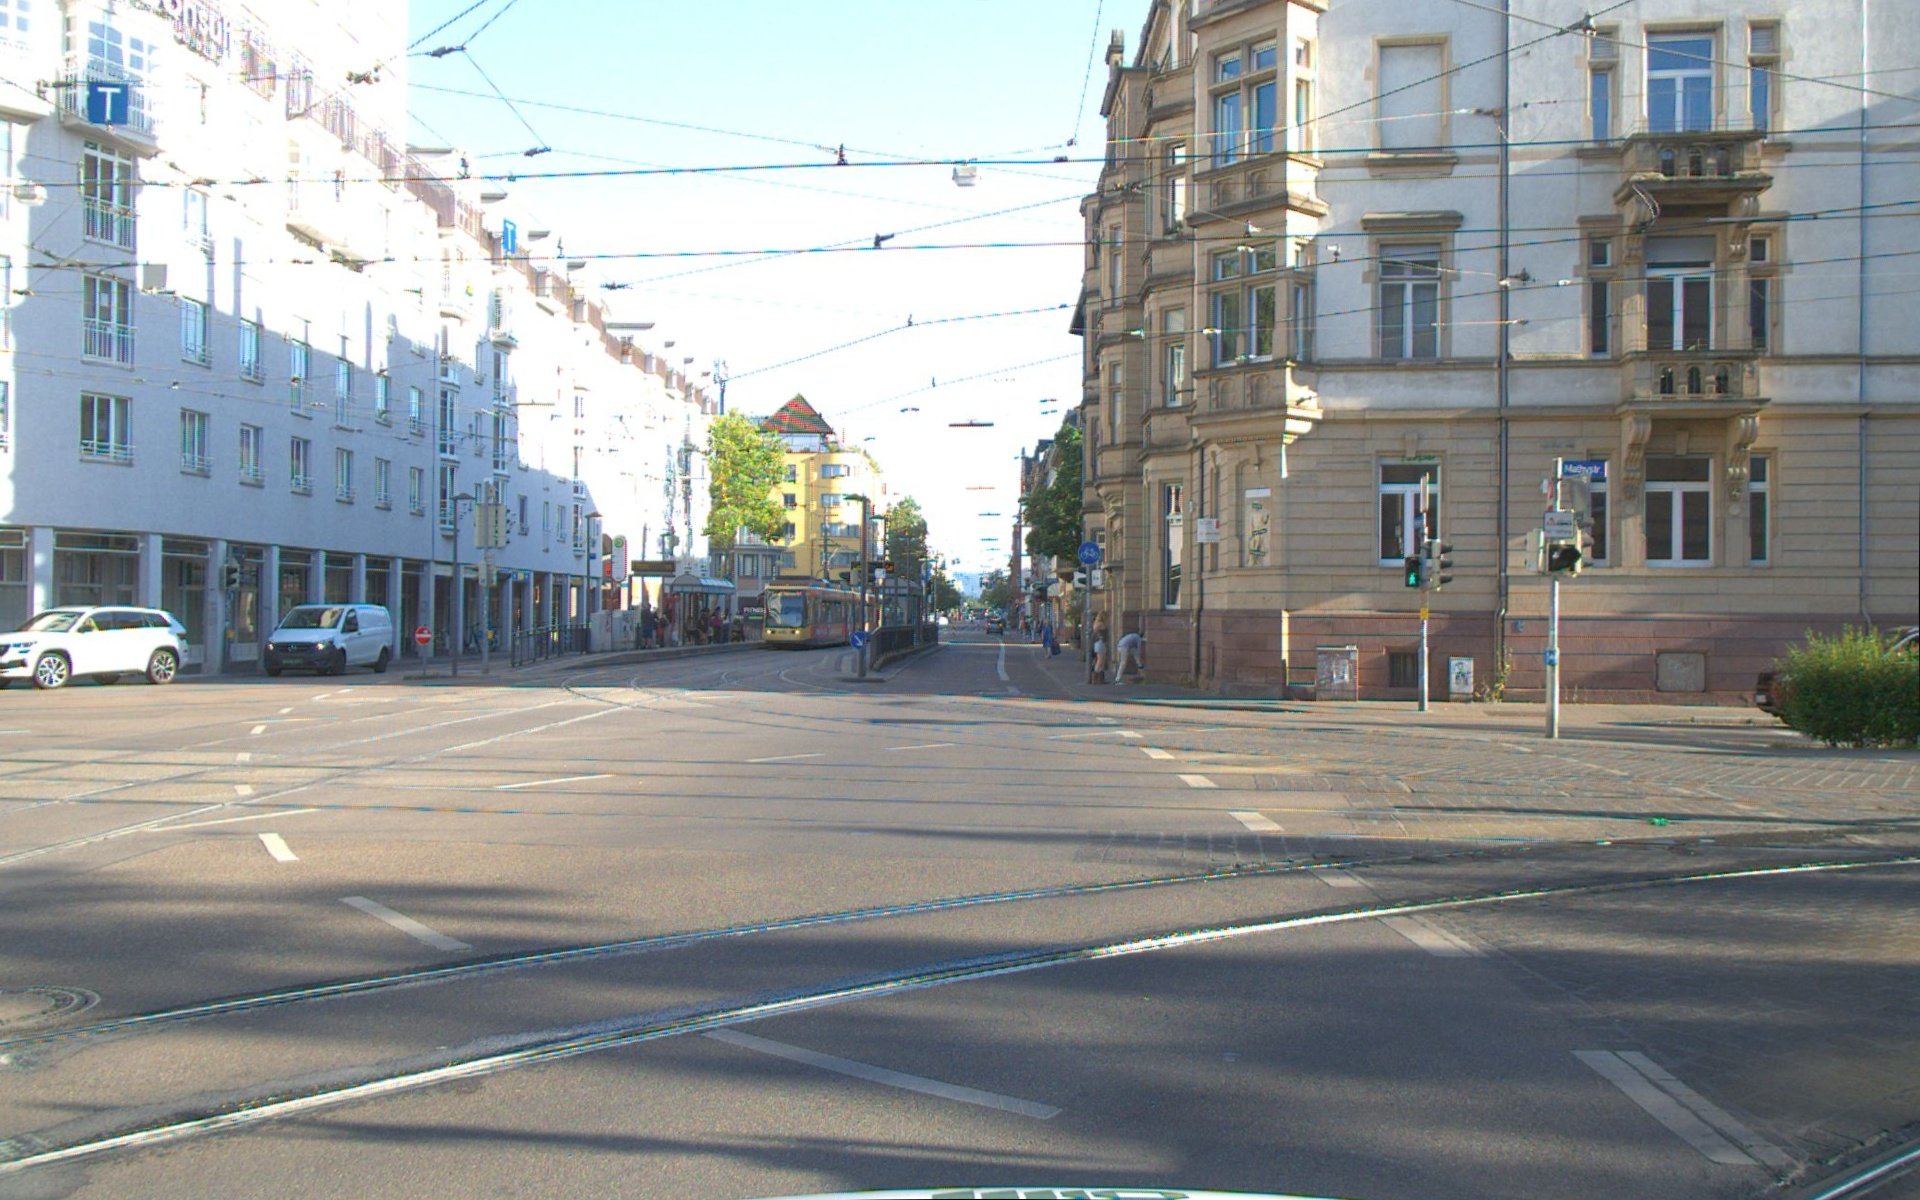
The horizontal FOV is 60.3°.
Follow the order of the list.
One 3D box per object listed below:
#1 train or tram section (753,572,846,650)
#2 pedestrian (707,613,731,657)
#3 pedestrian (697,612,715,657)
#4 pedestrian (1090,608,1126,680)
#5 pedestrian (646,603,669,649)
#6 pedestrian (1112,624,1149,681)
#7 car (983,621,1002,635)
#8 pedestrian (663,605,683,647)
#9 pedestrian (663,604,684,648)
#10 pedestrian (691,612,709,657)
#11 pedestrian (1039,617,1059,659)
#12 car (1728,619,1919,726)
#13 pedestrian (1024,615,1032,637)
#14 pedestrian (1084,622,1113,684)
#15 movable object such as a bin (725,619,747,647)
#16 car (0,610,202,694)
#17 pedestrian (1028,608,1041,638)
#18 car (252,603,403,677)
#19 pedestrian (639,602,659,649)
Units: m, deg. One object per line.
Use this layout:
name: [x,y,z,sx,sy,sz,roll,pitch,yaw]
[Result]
train or tram section: [-7.958,0.579,84.123,2.825,3.551,14.170,-1,-1,2]
pedestrian: [-10.736,1.550,73.678,0.913,1.938,0.880,1,-1,-2]
pedestrian: [-11.106,1.504,72.266,0.681,1.938,0.672,1,-1,-2]
pedestrian: [3.626,1.083,40.596,0.778,1.751,0.719,-1,-2,-1]
pedestrian: [-11.629,0.985,63.636,0.752,1.763,0.517,-1,-2,43]
pedestrian: [4.109,1.268,39.825,0.778,1.355,0.719,-1,-2,-1]
car: [3.455,2.951,176.933,1.952,1.475,4.000,1,-1,1]
pedestrian: [-11.742,1.068,67.625,0.686,1.721,0.667,1,-2,-23]
pedestrian: [-11.393,1.041,65.829,0.686,1.721,0.667,1,-2,-23]
pedestrian: [-11.277,1.486,71.709,0.681,1.938,0.672,1,-1,-2]
pedestrian: [3.623,1.523,67.091,0.747,1.674,0.832,-1,0,0]
car: [15.092,1.167,27.127,4.167,1.660,1.946,0,-1,9]
pedestrian: [5.577,2.128,135.995,0.548,1.828,0.651,0,-1,8]
pedestrian: [4.240,1.601,50.593,0.784,1.856,0.797,-1,0,0]
movable object such as a bin: [-10.835,1.600,79.964,0.918,1.309,0.934,1,-1,-1]
car: [-18.467,1.045,34.833,1.952,1.648,4.511,0,-1,20]
pedestrian: [4.573,1.385,101.644,0.699,1.805,0.773,-2,0,-2]
car: [-16.948,1.061,44.651,1.952,1.870,5.346,0,-1,0]
pedestrian: [-11.573,0.941,61.547,0.586,1.721,0.613,1,-1,1]
